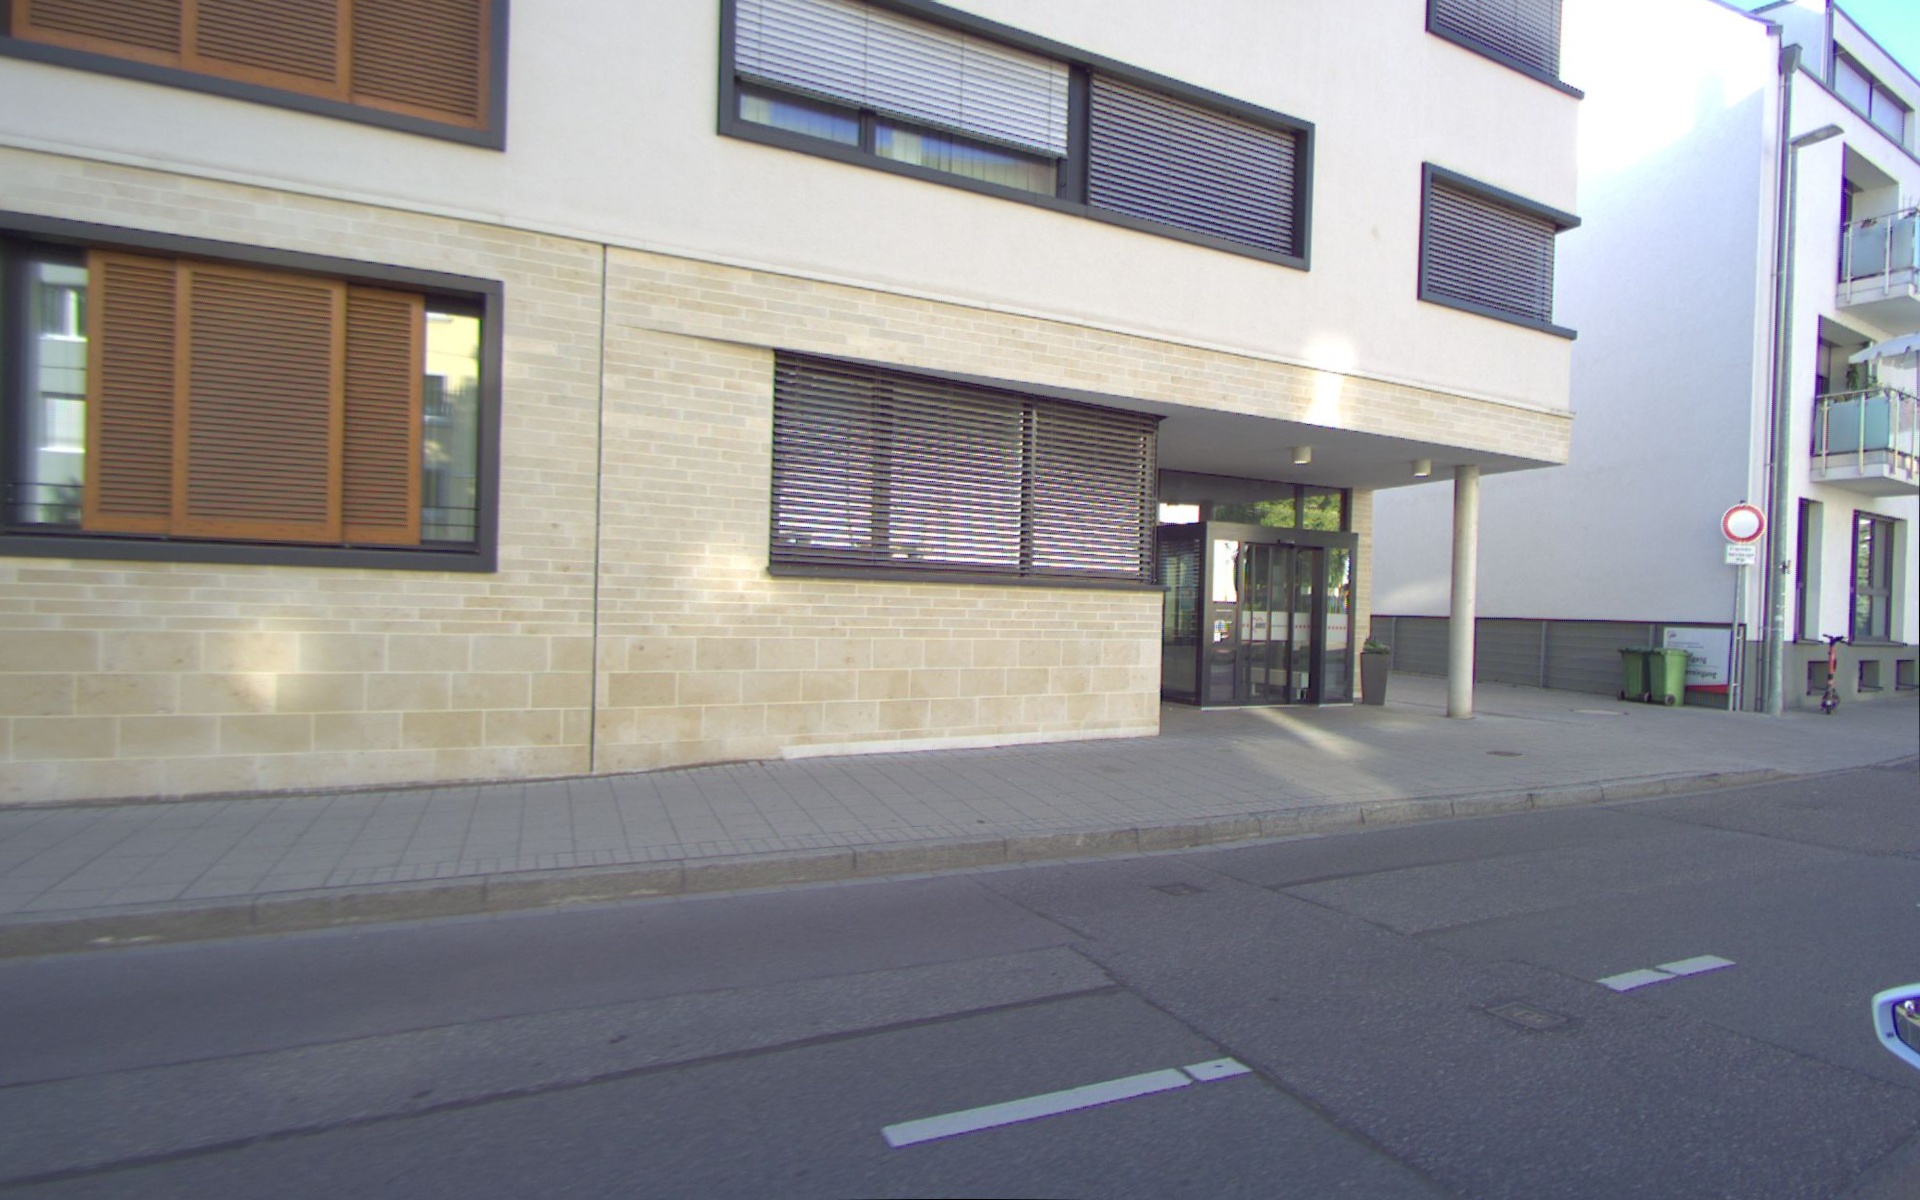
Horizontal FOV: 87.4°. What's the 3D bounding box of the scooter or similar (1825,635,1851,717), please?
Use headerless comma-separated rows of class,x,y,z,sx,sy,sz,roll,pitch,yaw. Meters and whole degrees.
scooter or similar,14.162,1.203,16.190,0.222,1.236,1.148,3,2,44

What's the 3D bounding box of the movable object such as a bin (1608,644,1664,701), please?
movable object such as a bin,11.577,1.236,17.210,0.521,0.913,0.549,2,1,-9

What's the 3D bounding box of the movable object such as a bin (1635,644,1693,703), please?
movable object such as a bin,11.654,1.206,16.644,0.521,0.913,0.549,2,1,-9
